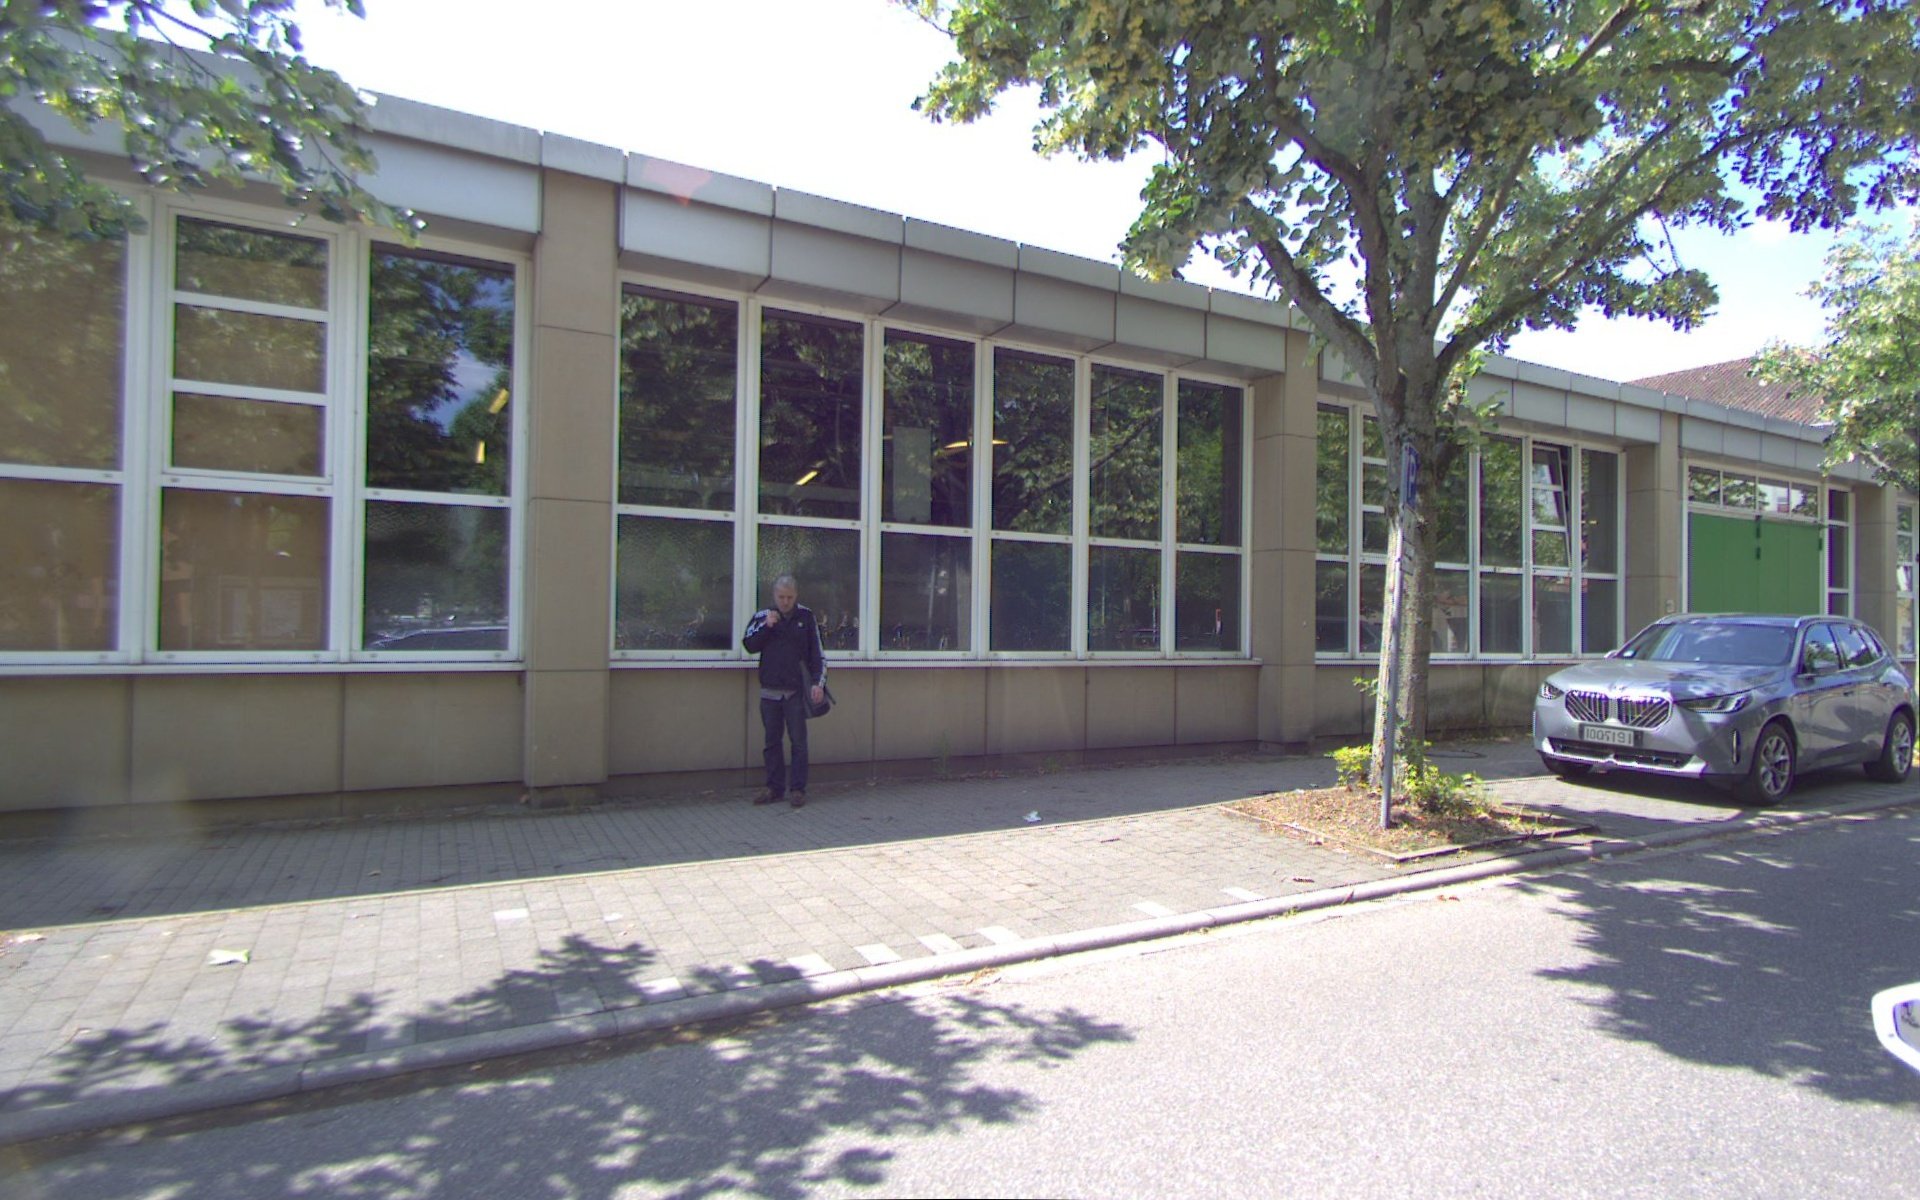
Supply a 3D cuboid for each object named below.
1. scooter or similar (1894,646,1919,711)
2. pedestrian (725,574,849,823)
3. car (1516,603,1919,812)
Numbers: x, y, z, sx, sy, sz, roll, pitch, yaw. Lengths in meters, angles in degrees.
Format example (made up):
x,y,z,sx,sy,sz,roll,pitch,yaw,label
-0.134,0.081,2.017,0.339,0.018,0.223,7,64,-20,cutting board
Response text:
x,y,z,sx,sy,sz,roll,pitch,yaw,label
18.249,1.474,18.984,1.200,1.185,0.503,1,0,-28,scooter or similar
-1.350,0.721,7.808,0.781,1.811,0.665,0,0,-28,pedestrian
7.705,0.918,9.988,4.465,1.654,1.812,2,0,-31,car
